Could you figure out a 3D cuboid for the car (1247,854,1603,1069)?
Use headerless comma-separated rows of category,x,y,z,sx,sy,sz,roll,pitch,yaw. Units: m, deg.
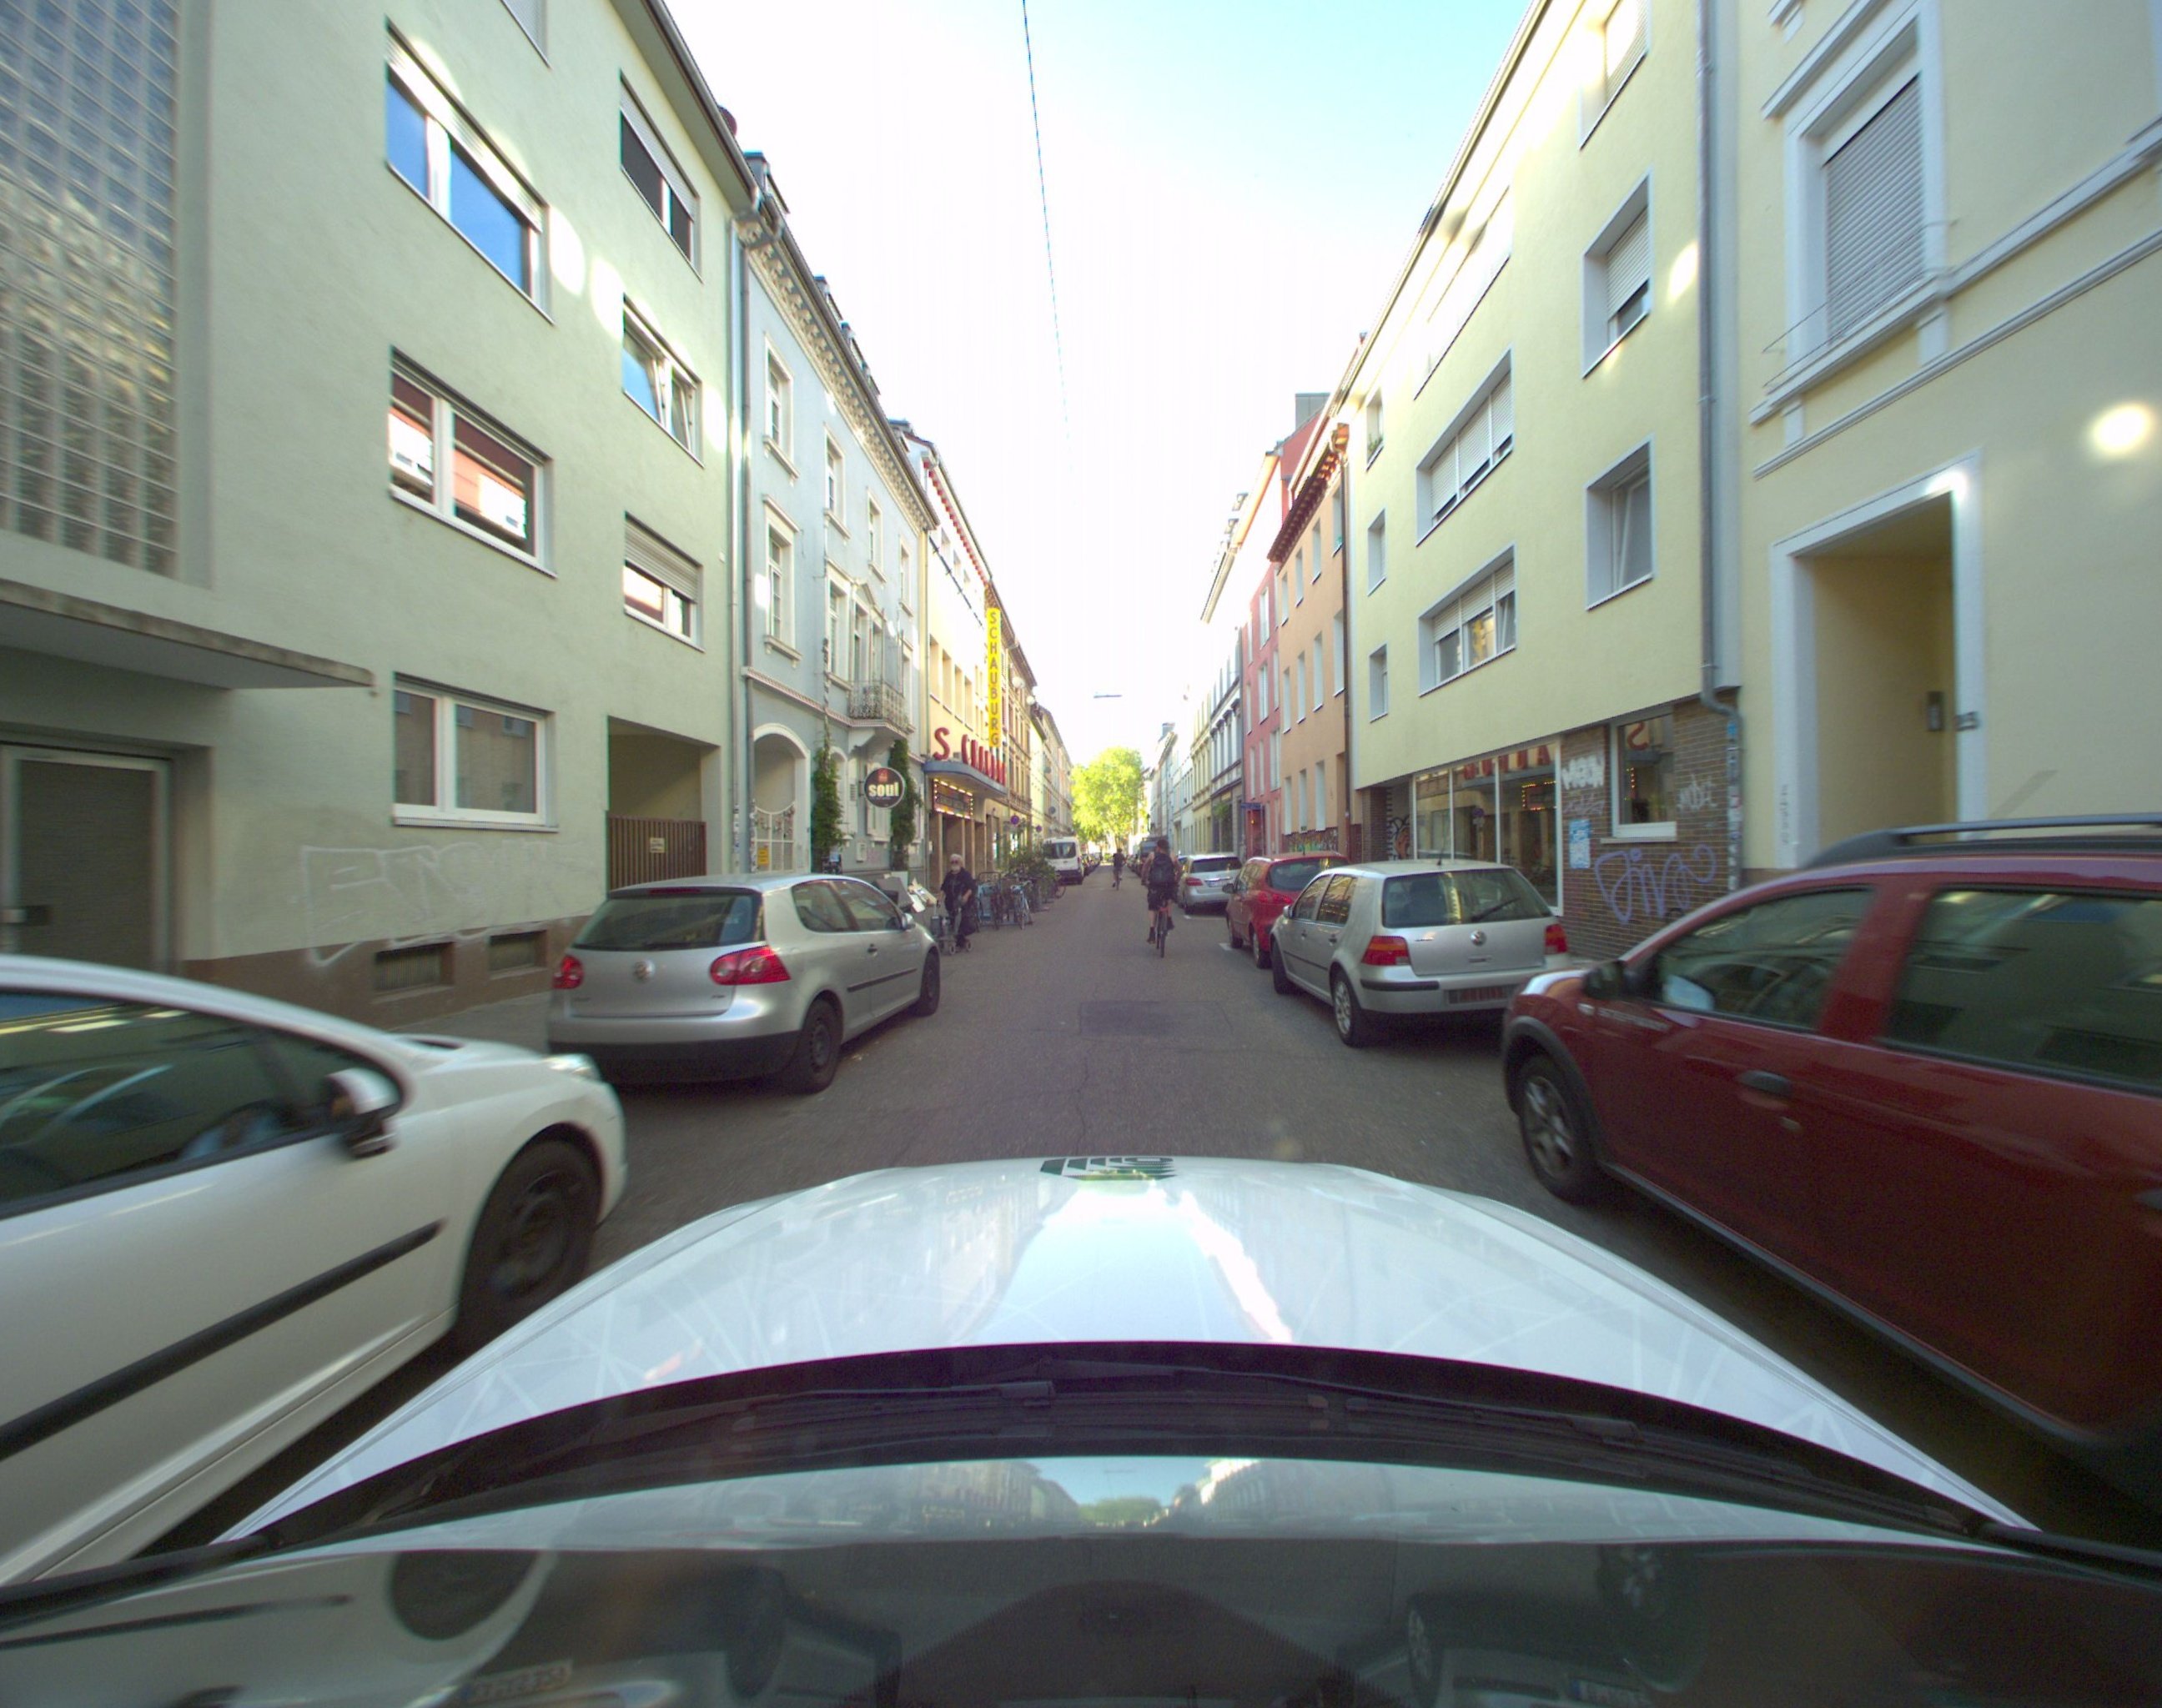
car,2.876,0.764,7.893,1.682,1.453,4.194,-2,0,1

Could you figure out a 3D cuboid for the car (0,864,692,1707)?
car,-2.705,0.796,1.659,1.783,1.451,4.001,-1,0,1

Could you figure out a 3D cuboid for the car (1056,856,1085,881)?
car,-0.616,0.851,50.755,1.640,1.447,3.840,-2,0,0

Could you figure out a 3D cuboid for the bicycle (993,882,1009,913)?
bicycle,-2.264,1.220,23.232,0.255,0.817,1.300,-1,0,3

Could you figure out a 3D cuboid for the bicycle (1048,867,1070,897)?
bicycle,-0.833,1.014,30.160,0.461,1.047,1.742,0,0,-14

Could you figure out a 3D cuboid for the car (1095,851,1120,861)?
car,4.925,0.410,152.073,4.458,1.759,1.865,-2,0,-3

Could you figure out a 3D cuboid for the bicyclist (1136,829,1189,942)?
bicyclist,1.252,0.471,12.665,0.737,1.679,1.117,0,0,2

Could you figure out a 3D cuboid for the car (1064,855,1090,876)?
car,-0.257,0.824,62.044,1.856,1.440,4.645,-2,0,0

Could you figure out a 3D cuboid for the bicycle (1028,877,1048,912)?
bicycle,-1.211,1.121,23.003,0.388,0.916,1.394,-1,0,3

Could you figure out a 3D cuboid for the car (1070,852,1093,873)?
car,0.085,0.720,73.066,1.794,1.698,4.002,-4,0,2

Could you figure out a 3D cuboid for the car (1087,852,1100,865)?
car,1.734,0.660,112.607,1.781,1.737,3.877,-2,0,2

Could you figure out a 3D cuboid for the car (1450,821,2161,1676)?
car,2.872,0.692,2.477,1.782,1.551,4.002,-1,0,2

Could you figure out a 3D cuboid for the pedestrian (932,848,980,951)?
pedestrian,-2.114,0.754,13.846,0.711,1.708,0.671,0,-1,-2

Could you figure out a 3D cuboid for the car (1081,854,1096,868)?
car,0.904,0.818,93.035,1.599,1.530,3.379,-3,0,0

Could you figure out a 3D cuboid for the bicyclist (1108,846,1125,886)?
bicyclist,1.508,0.520,34.654,0.667,1.658,0.877,-2,0,2

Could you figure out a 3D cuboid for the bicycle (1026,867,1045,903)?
bicycle,-1.486,0.998,26.643,0.544,1.094,1.880,0,0,-2

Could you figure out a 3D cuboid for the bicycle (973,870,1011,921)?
bicycle,-2.161,0.993,19.809,0.810,1.175,0.920,-1,0,0

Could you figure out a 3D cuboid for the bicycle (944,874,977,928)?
bicycle,-2.687,1.023,18.276,0.441,1.105,1.698,0,0,2

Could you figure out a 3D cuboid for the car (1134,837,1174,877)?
car,4.832,0.201,54.716,2.167,2.425,6.312,-3,0,2

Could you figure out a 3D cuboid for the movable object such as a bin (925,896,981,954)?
movable object such as a bin,-2.084,1.156,13.302,0.843,0.897,0.585,0,-1,-4

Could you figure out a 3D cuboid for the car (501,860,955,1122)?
car,-2.415,0.832,6.812,1.672,1.454,4.040,-2,0,5

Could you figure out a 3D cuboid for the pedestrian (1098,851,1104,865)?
pedestrian,2.666,0.546,107.775,0.784,1.817,0.650,1,0,-5

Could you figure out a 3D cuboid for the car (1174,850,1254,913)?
car,3.605,0.692,22.714,1.739,1.556,4.175,-1,0,3

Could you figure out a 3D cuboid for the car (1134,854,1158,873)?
car,5.223,0.731,66.035,1.739,1.485,4.245,-2,0,2

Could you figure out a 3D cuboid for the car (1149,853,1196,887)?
car,4.369,0.731,39.585,1.780,1.454,4.548,-4,0,1

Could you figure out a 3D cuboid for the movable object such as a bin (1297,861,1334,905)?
movable object such as a bin,5.966,0.734,20.713,0.689,1.058,0.737,-4,0,2

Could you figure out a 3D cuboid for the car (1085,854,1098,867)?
car,1.259,0.798,100.407,1.540,1.550,3.463,-2,0,-1

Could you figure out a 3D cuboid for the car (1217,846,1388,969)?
car,3.182,0.687,12.507,1.690,1.523,3.983,-3,0,3

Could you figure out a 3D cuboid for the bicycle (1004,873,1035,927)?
bicycle,-1.361,0.995,18.160,0.497,1.105,1.830,0,0,2

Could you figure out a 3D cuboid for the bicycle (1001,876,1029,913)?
bicycle,-1.830,1.111,22.668,0.551,0.944,1.573,-1,0,3

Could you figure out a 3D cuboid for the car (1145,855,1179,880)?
car,4.770,0.773,48.479,1.740,1.444,4.174,-1,0,2

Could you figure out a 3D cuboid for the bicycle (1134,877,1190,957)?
bicycle,1.237,0.933,12.743,0.737,1.100,2.043,0,0,2

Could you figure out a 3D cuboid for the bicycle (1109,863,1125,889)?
bicycle,1.530,0.918,34.668,0.661,1.037,1.960,-2,0,2

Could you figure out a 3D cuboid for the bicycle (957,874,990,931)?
bicycle,-2.313,1.022,17.710,0.442,1.105,1.874,0,0,1

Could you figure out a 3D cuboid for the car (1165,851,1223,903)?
car,3.758,0.728,27.529,1.595,1.539,3.453,-4,0,3

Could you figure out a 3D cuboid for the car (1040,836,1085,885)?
car,-0.947,0.333,44.706,2.160,2.452,5.922,-3,0,1

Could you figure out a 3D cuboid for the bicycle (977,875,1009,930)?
bicycle,-1.947,1.042,18.140,0.441,1.105,1.932,0,0,2

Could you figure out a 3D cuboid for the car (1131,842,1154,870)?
car,6.129,0.183,81.304,2.194,2.551,6.043,-2,0,4
